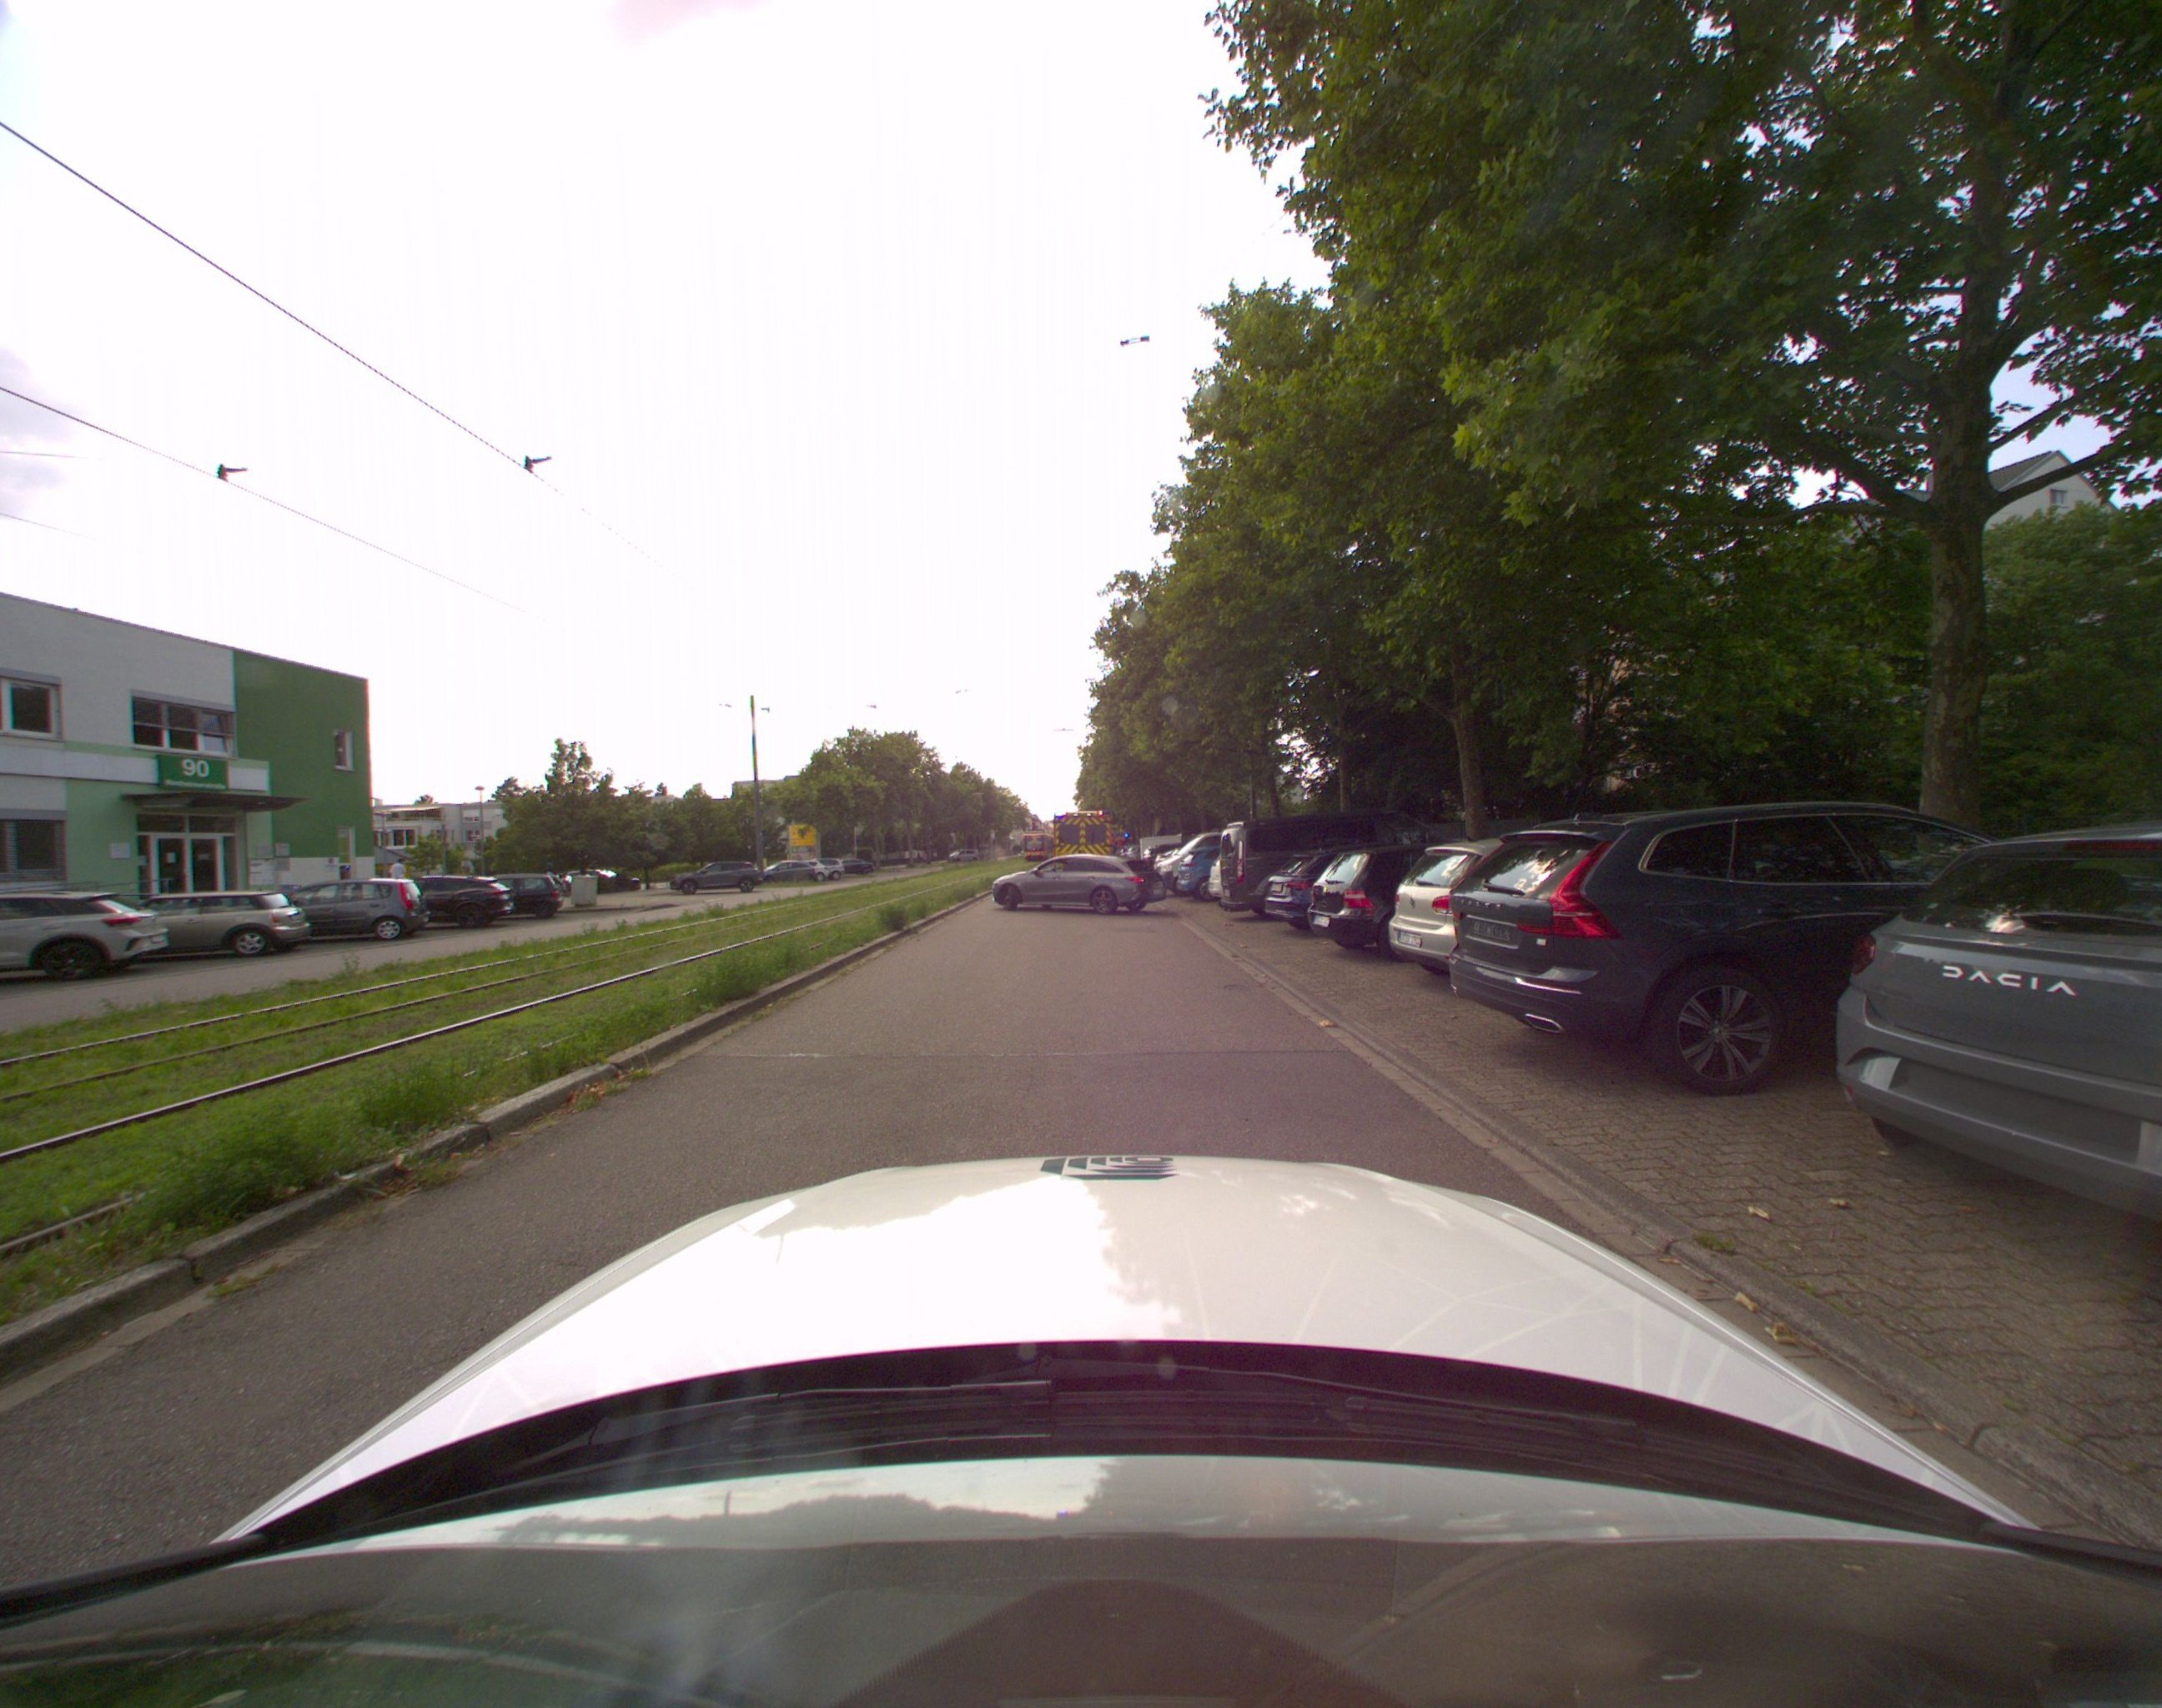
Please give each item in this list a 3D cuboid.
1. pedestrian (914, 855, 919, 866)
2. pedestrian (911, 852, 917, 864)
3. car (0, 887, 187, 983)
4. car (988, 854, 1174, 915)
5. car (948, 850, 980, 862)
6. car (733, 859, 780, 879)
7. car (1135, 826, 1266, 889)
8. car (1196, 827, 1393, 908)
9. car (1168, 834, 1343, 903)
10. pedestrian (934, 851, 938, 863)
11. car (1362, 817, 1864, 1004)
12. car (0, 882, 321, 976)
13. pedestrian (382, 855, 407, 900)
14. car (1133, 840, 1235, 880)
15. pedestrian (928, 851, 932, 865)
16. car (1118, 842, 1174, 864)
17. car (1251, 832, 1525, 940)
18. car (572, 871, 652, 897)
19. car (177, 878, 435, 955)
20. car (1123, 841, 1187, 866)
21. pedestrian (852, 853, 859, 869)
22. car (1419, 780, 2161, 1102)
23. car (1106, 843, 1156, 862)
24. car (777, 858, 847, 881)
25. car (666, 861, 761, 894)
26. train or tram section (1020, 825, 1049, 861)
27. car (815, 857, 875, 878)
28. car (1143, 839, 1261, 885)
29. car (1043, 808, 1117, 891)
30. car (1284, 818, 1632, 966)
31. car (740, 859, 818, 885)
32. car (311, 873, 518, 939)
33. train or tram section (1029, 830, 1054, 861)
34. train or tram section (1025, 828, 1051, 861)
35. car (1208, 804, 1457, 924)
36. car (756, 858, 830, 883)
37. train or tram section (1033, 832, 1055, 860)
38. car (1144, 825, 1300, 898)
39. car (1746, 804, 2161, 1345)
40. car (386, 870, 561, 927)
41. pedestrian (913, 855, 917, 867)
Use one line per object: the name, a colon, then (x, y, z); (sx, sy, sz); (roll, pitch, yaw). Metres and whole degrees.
pedestrian: (-21.273, 0.839, 105.187); (0.417, 1.414, 0.470); (-2, 0, 25)
pedestrian: (-22.905, 0.534, 111.866); (0.631, 1.551, 0.622); (-2, 0, -3)
car: (-19.113, 1.469, 14.268); (4.252, 1.482, 1.863); (-3, 1, -34)
car: (-0.041, 0.706, 20.615); (4.411, 1.385, 1.778); (0, 0, 30)
car: (-18.566, 0.333, 129.621); (4.651, 1.633, 1.861); (-3, 0, -39)
car: (-29.639, 1.324, 74.416); (3.949, 1.750, 2.013); (0, 0, 31)
car: (4.422, 0.121, 30.579); (4.537, 2.043, 1.853); (-3, 0, -4)
car: (5.379, 0.324, 20.918); (4.532, 1.766, 1.855); (-3, 0, -1)
car: (4.952, 0.399, 23.450); (4.538, 1.660, 1.853); (-3, 0, -5)
pedestrian: (-21.721, 0.424, 122.244); (0.465, 1.828, 0.422); (-2, 0, -2)
car: (5.169, 0.504, 8.309); (3.953, 1.494, 1.756); (-3, 0, -1)
car: (-19.222, 1.490, 17.205); (4.247, 1.482, 1.866); (-3, 1, -29)
pedestrian: (-28.320, 0.963, 33.599); (0.544, 1.828, 0.508); (-2, 0, -2)
car: (4.905, 0.277, 39.210); (4.537, 1.608, 1.853); (-3, 0, -4)
pedestrian: (-18.400, 0.467, 99.258); (0.420, 1.730, 0.467); (-2, 0, -5)
car: (5.630, -0.081, 70.621); (4.537, 1.608, 1.853); (-3, 0, -4)
car: (5.071, 0.509, 13.834); (3.953, 1.494, 1.755); (-3, 0, -1)
car: (-29.412, 1.882, 51.109); (3.970, 1.565, 1.779); (0, -1, 2)
car: (-18.968, 1.462, 20.251); (4.247, 1.482, 1.866); (-3, 1, -29)
car: (5.497, -0.023, 60.770); (4.537, 1.608, 1.853); (-3, 0, -4)
pedestrian: (-23.158, 0.732, 83.669); (0.465, 1.676, 0.603); (-2, 0, -2)
car: (4.837, 0.469, 5.463); (4.364, 1.639, 1.757); (-3, 0, 2)
car: (4.841, -0.149, 78.853); (4.537, 1.608, 1.853); (-3, 0, -4)
car: (-18.748, 1.068, 56.883); (4.253, 1.482, 1.863); (-1, 0, -36)
car: (-18.358, 1.151, 40.819); (4.241, 1.482, 1.868); (-1, 0, -25)
train or tram section: (-5.020, -1.147, 89.063); (2.504, 3.584, 7.443); (-3, 0, 0)
car: (-18.848, 1.060, 65.087); (4.256, 1.482, 1.861); (-1, 0, -40)
car: (5.016, 0.327, 34.053); (4.537, 1.608, 1.853); (-3, 0, -4)
car: (0.074, -0.166, 32.592); (2.631, 2.966, 6.302); (1, 0, 2)
car: (5.001, 0.443, 11.035); (3.967, 1.605, 1.750); (-3, 0, -11)
car: (-18.868, 1.121, 50.933); (4.253, 1.482, 1.863); (-1, 0, -36)
car: (-18.872, 1.412, 23.336); (4.247, 1.482, 1.866); (-3, 1, -29)
train or tram section: (-4.992, -1.040, 103.939); (2.504, 3.584, 7.443); (-3, 0, 0)
train or tram section: (-5.010, -1.094, 96.494); (2.504, 3.584, 7.443); (-3, 0, 0)
car: (5.097, 0.189, 16.958); (4.532, 2.123, 1.855); (-3, 0, -1)
car: (-19.015, 1.073, 53.851); (4.253, 1.482, 1.863); (-1, 0, -36)
train or tram section: (-4.967, -0.987, 111.381); (2.504, 3.584, 7.443); (-3, 0, 0)
car: (4.438, 0.210, 25.985); (4.537, 2.000, 1.853); (-3, 0, -4)
car: (5.218, 0.516, 2.796); (4.364, 1.501, 1.757); (-3, 1, 2)
car: (-19.414, 1.377, 26.303); (4.247, 1.482, 1.866); (-3, 1, -29)
pedestrian: (-21.078, 0.850, 103.353); (0.420, 1.473, 0.467); (-2, 0, -5)
